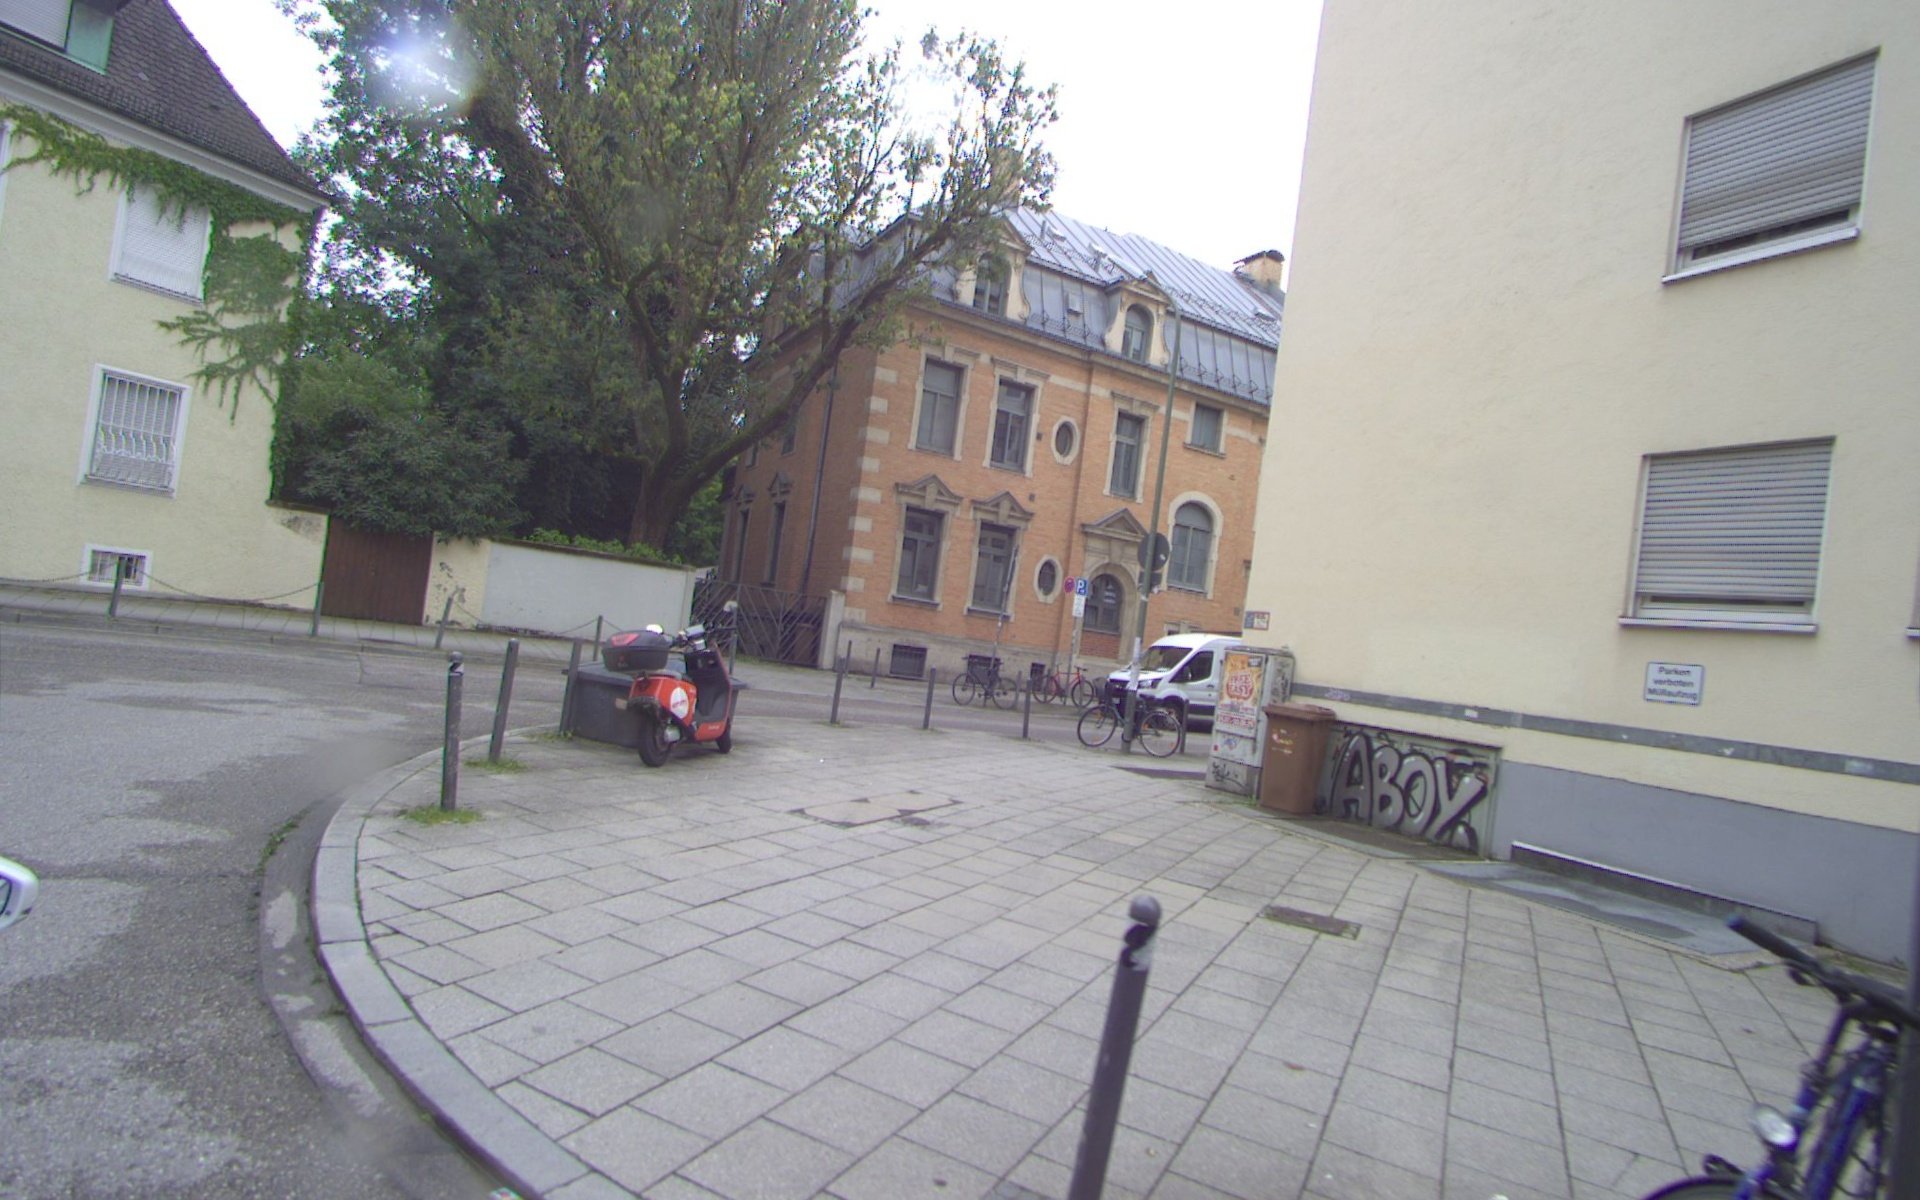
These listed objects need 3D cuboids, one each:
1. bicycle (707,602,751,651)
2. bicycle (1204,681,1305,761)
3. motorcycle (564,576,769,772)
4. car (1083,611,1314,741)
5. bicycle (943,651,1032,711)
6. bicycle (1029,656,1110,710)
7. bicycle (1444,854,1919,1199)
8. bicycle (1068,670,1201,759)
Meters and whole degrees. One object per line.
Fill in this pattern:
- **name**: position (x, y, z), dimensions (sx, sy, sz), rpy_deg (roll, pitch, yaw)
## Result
- **bicycle**: position (-6.466, 0.719, 28.079), dimensions (0.530, 1.232, 2.069), rpy_deg (8, -2, -27)
- **bicycle**: position (5.045, 2.083, 17.166), dimensions (1.950, 1.167, 0.575), rpy_deg (10, -3, -41)
- **motorcycle**: position (-2.402, 0.612, 8.584), dimensions (0.802, 1.371, 2.087), rpy_deg (7, -2, 5)
- **car**: position (5.943, 1.895, 24.823), dimensions (5.410, 2.494, 1.987), rpy_deg (9, -4, -28)
- **bicycle**: position (0.592, 1.762, 21.798), dimensions (1.741, 1.066, 0.578), rpy_deg (9, -2, -24)
- **bicycle**: position (2.724, 2.067, 24.993), dimensions (1.871, 1.066, 0.578), rpy_deg (9, -1, -24)
- **bicycle**: position (1.740, 1.159, 1.978), dimensions (1.781, 1.099, 0.659), rpy_deg (8, 0, -35)
- **bicycle**: position (2.651, 1.738, 15.360), dimensions (1.738, 1.078, 0.773), rpy_deg (6, -2, 41)
